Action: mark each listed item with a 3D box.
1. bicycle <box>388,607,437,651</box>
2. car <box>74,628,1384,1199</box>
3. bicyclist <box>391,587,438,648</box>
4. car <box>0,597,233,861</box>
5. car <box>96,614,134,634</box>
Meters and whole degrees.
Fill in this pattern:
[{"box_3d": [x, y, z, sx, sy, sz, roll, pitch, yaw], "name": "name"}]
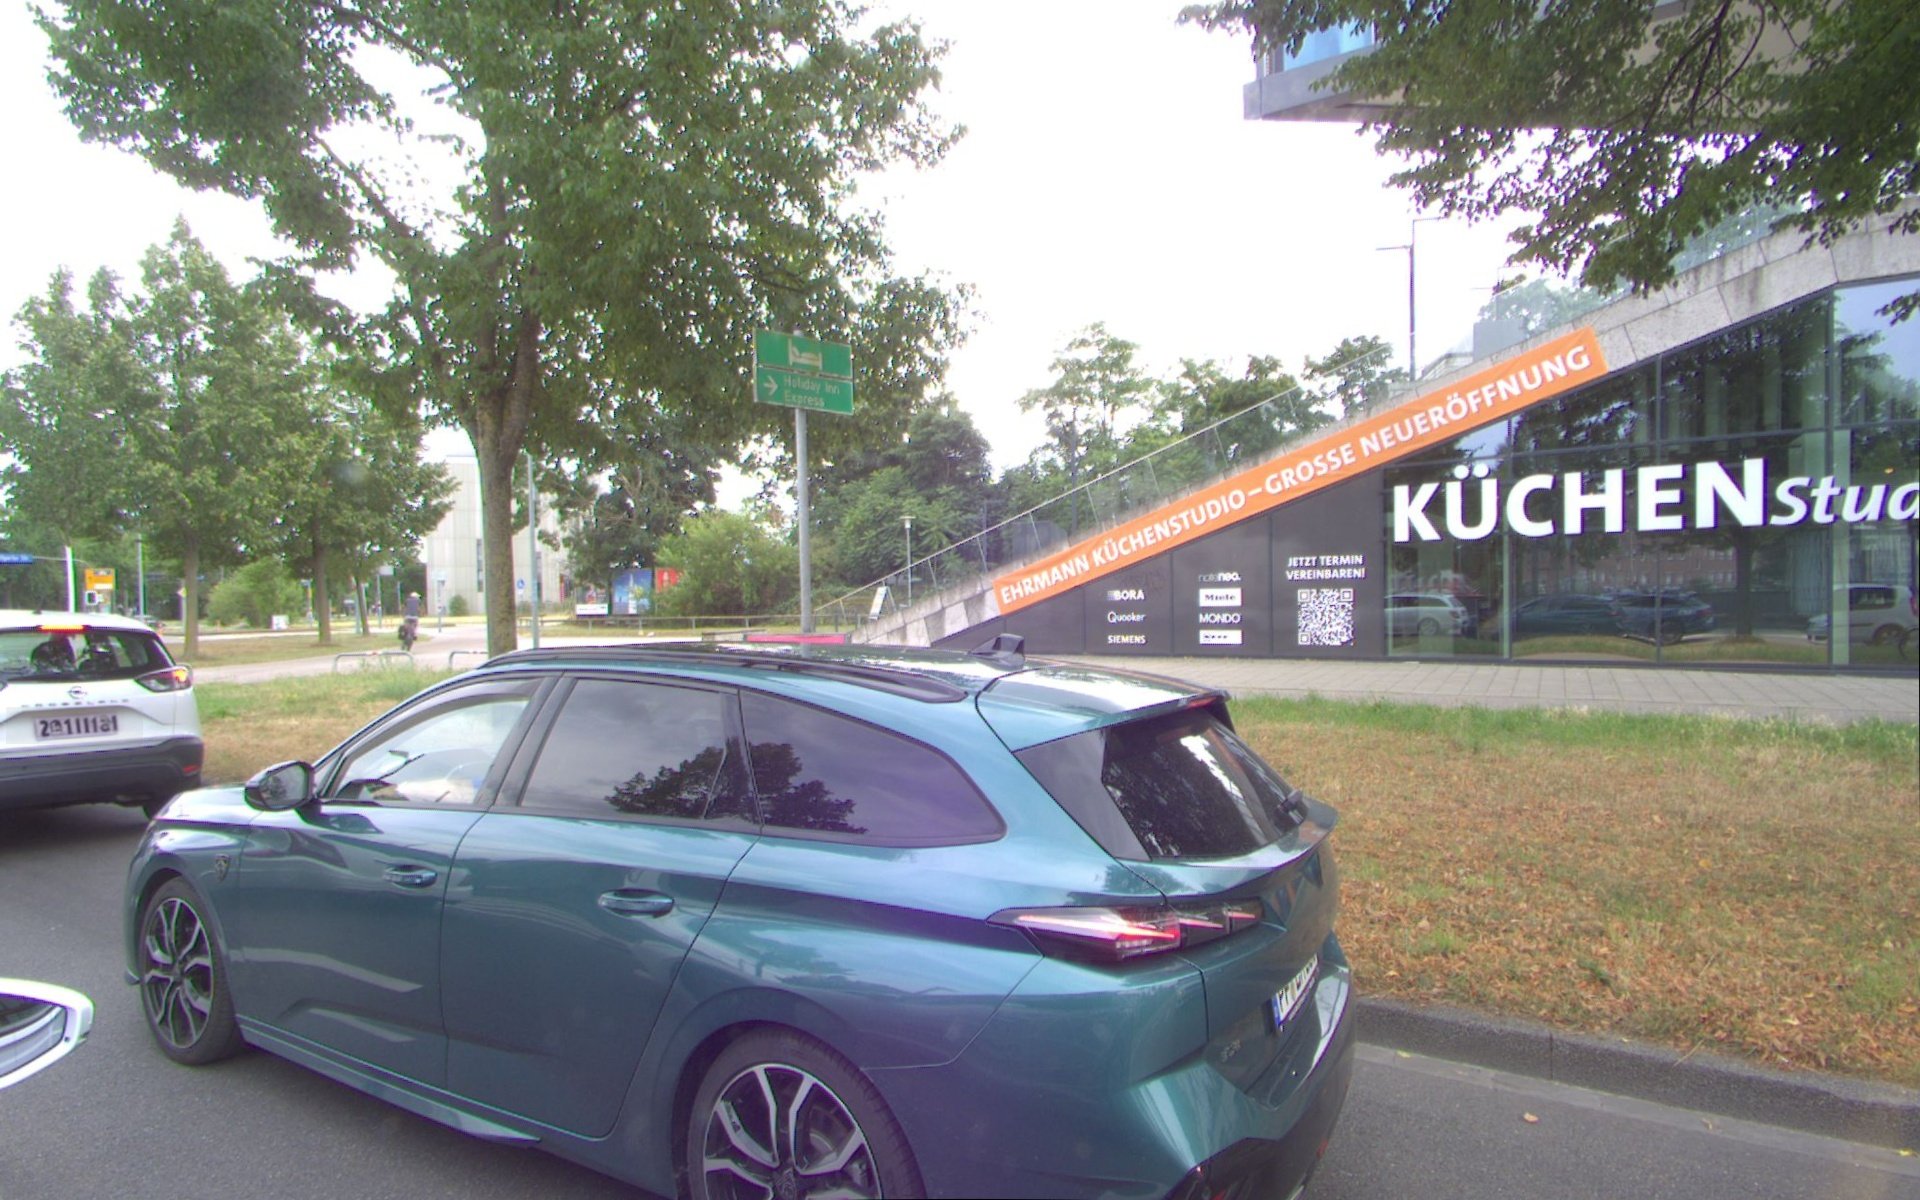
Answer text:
[{"box_3d": [-16.572, 0.851, 30.364, 0.889, 1.251, 2.263, 0, 0, -18], "name": "bicycle"}, {"box_3d": [-0.948, 0.841, 3.397, 4.245, 1.450, 1.786, 0, -1, 29], "name": "car"}, {"box_3d": [-16.574, 0.515, 30.446, 0.982, 1.761, 1.126, -3, 3, -19], "name": "bicyclist"}, {"box_3d": [-7.413, 0.819, 7.597, 3.854, 1.646, 1.783, 0, 0, 33], "name": "car"}, {"box_3d": [-80.409, 2.292, 95.344, 1.971, 1.813, 3.983, 1, -2, -28], "name": "car"}]
